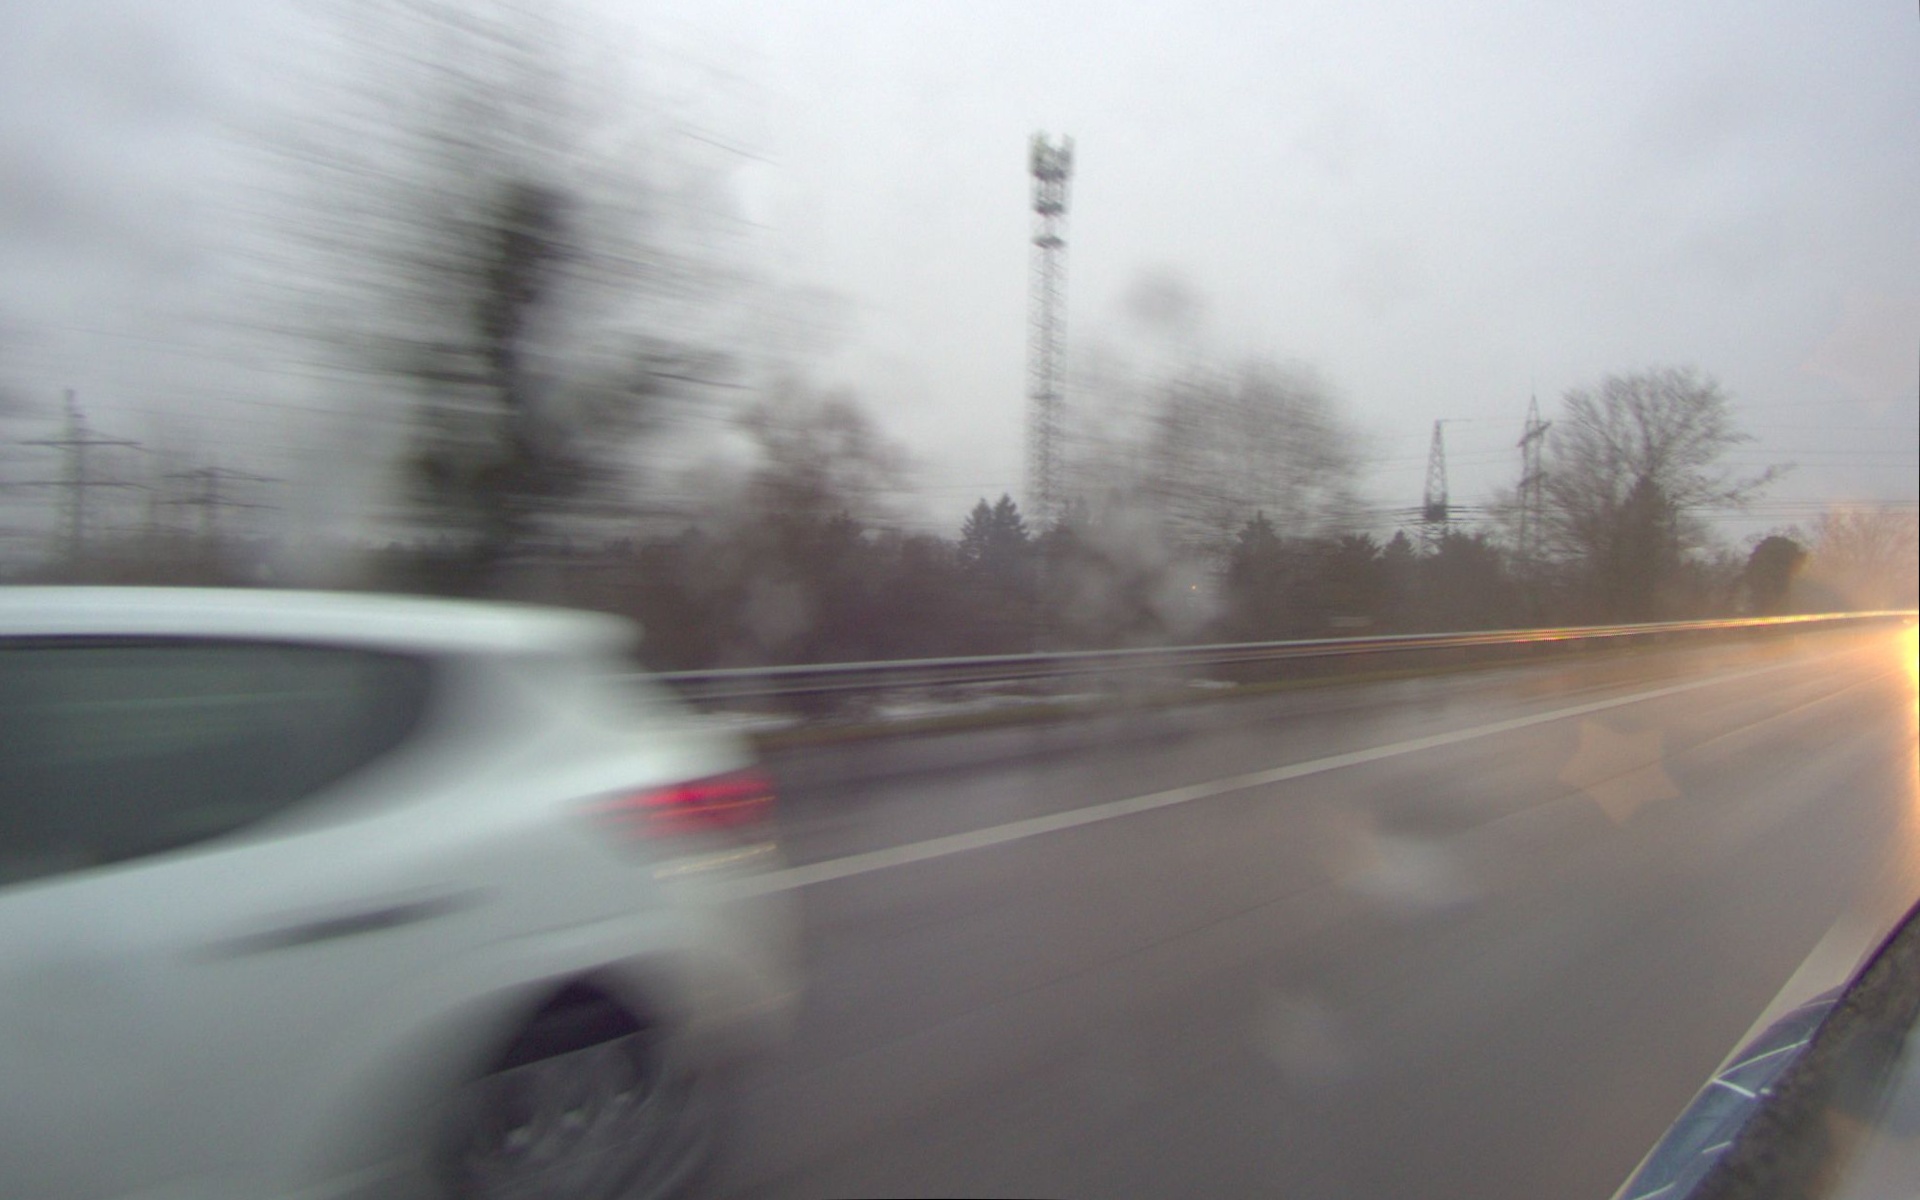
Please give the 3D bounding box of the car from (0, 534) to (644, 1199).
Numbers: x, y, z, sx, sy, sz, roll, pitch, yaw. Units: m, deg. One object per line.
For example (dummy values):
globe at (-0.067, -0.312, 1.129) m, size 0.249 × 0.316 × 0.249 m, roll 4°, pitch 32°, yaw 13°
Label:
car at (-2.777, 0.642, 1.660) m, size 3.931 × 1.522 × 1.800 m, roll 0°, pitch 0°, yaw -42°
